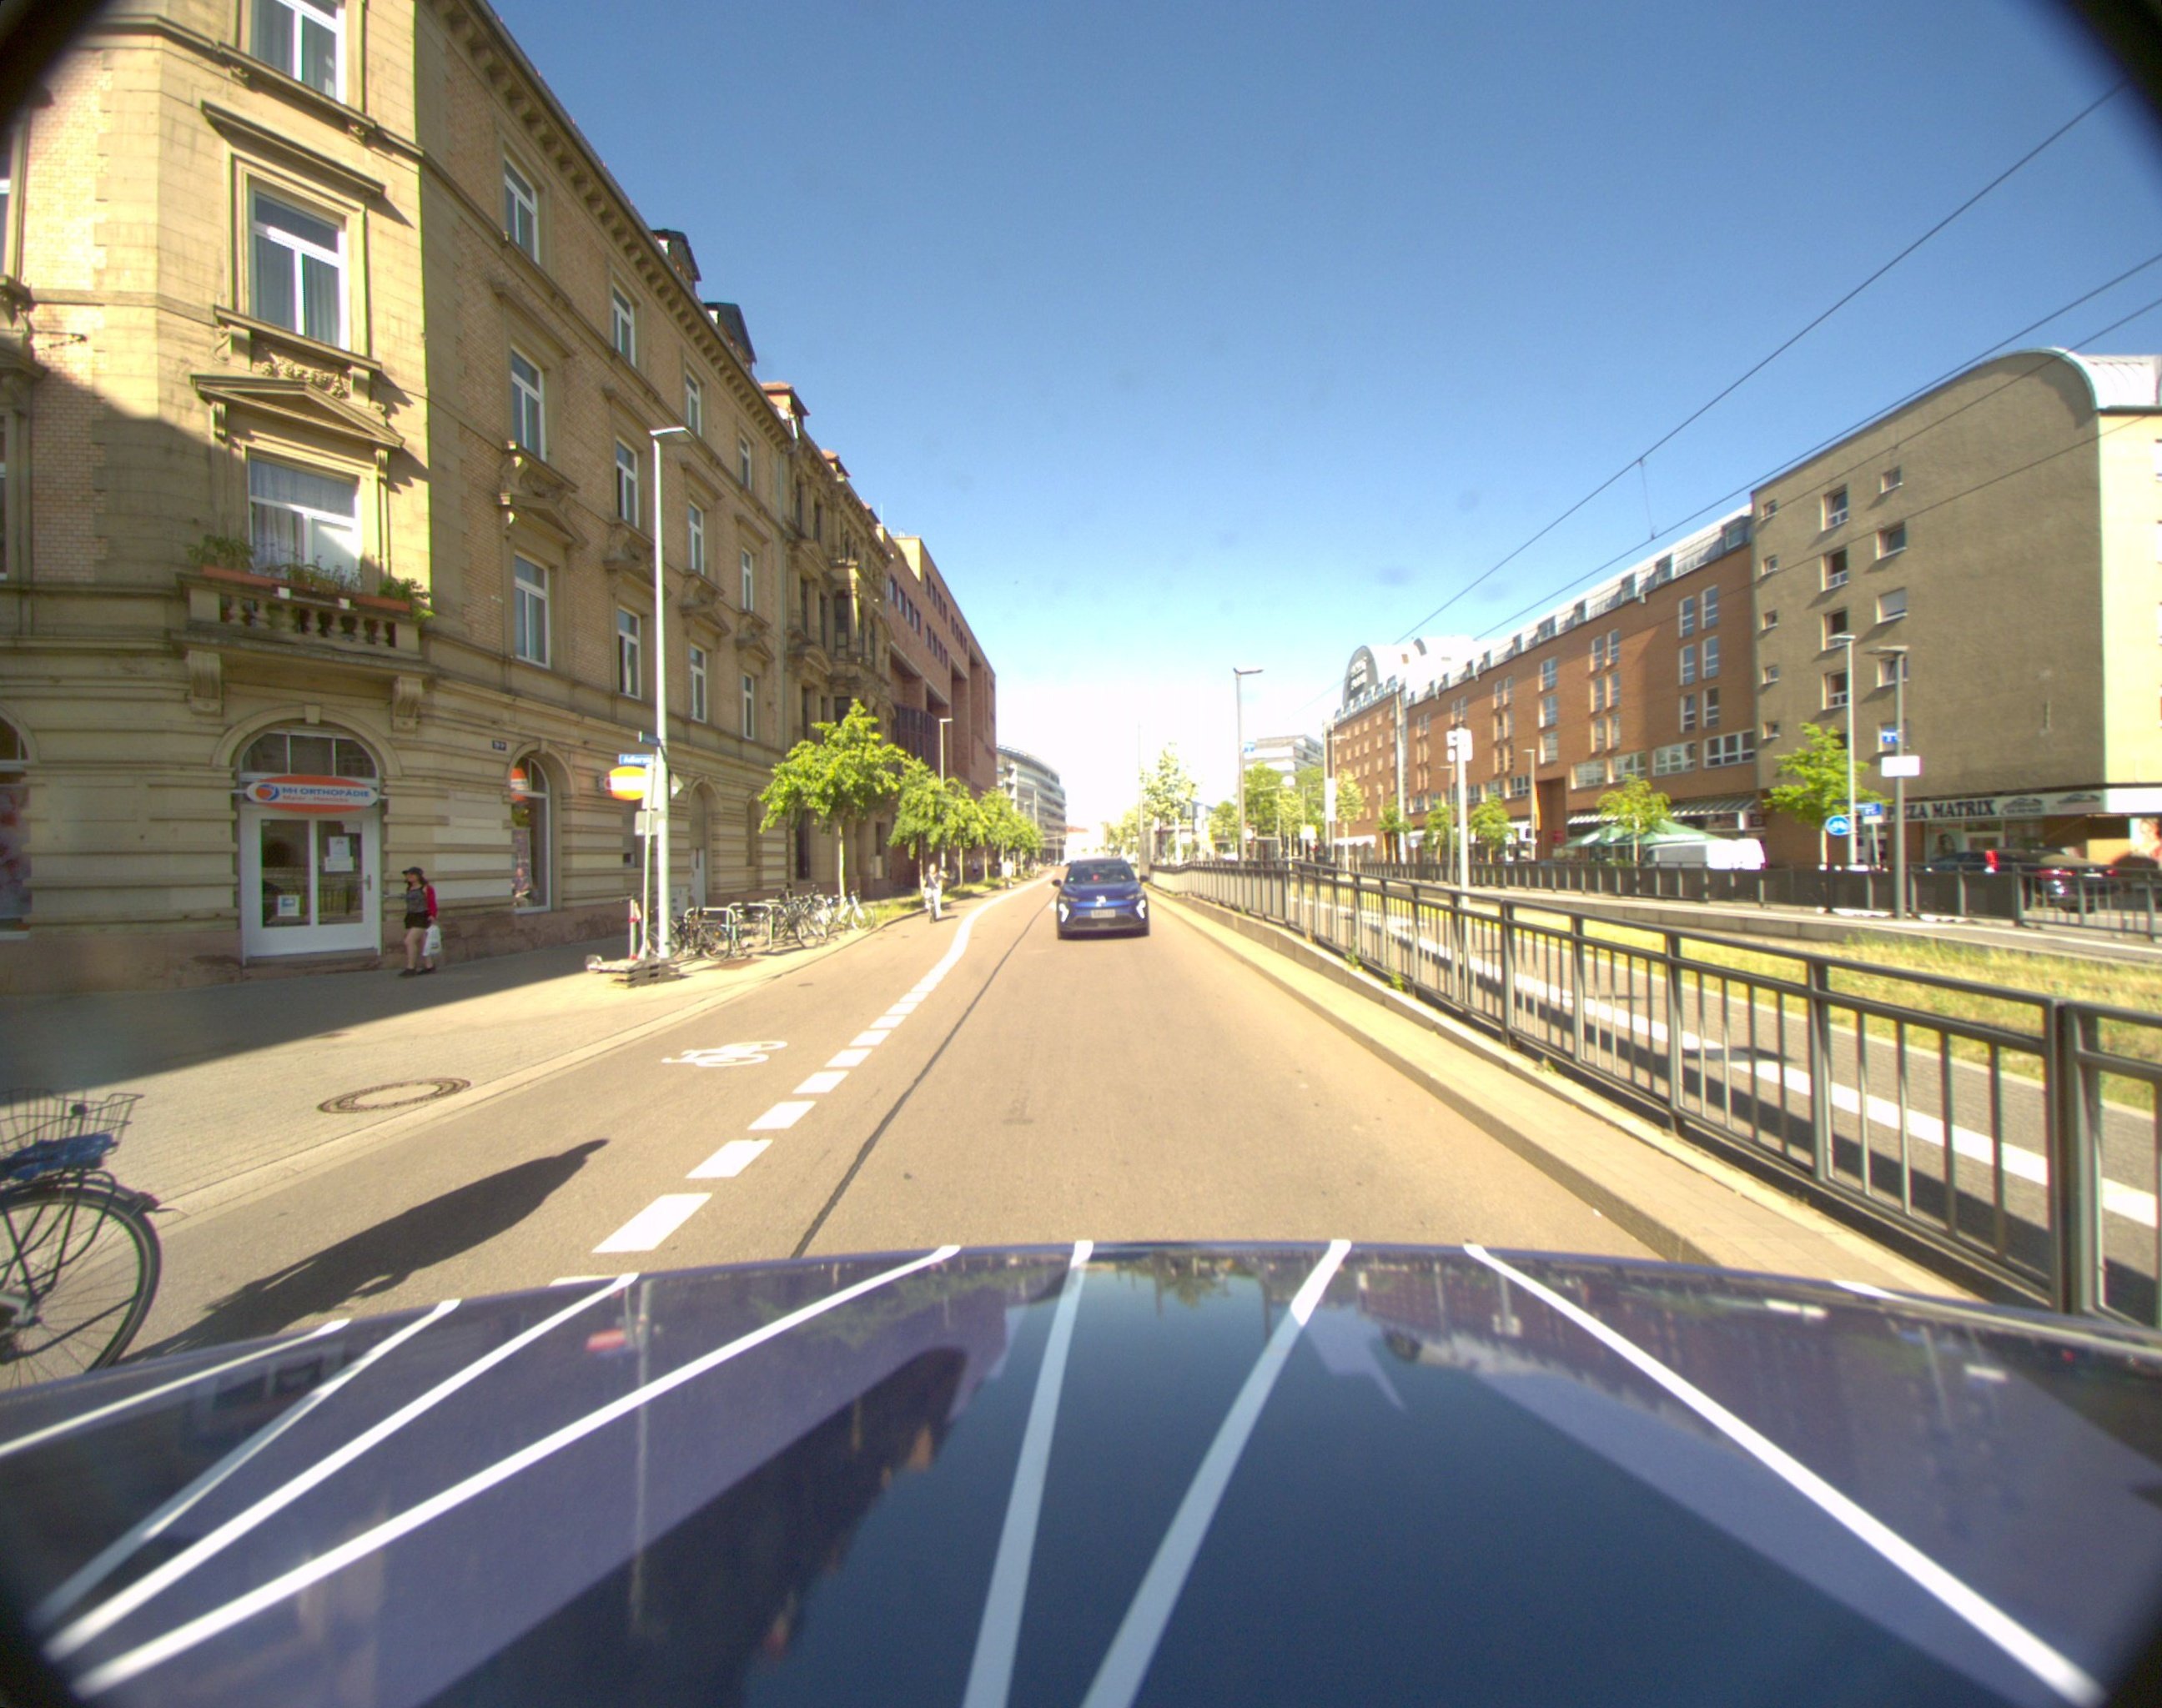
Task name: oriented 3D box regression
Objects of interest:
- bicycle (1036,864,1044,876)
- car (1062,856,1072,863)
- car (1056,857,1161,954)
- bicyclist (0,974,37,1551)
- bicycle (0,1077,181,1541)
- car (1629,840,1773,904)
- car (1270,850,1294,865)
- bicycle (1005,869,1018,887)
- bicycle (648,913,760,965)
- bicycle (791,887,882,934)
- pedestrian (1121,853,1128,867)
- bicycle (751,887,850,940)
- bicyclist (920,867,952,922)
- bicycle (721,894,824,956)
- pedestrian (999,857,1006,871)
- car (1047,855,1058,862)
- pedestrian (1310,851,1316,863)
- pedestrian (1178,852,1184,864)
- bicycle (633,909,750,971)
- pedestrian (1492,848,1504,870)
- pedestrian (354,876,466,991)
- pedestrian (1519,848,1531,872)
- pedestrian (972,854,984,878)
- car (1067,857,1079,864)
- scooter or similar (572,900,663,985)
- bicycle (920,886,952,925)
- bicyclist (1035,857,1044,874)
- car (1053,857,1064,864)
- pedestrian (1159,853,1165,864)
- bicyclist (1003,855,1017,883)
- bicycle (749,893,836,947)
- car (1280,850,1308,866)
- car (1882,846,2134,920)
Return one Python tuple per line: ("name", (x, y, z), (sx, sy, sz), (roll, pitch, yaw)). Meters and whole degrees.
("bicycle", (-4.054, 1.541, 74.851), (0.578, 1.090, 1.507), (-3, 0, 3))
("car", (-3.409, 1.329, 189.563), (1.882, 1.455, 4.001), (-2, 1, 7))
("car", (0.518, 0.935, 15.563), (1.802, 1.596, 3.999), (-2, 1, 1))
("bicyclist", (-3.050, 0.856, 1.459), (0.781, 1.701, 0.868), (-3, 0, 0))
("bicycle", (-3.095, 1.244, 1.451), (0.558, 1.086, 1.792), (-3, 0, 0))
("car", (25.352, 0.677, 31.409), (1.997, 2.356, 5.649), (-1, 0, 8))
("car", (25.092, 0.430, 94.919), (1.998, 1.674, 3.999), (-2, 1, 1))
("bicycle", (-4.365, 1.495, 47.630), (0.578, 1.090, 1.507), (-3, 0, 2))
("bicycle", (-6.520, 1.464, 13.165), (1.673, 0.816, 0.607), (0, 0, 7))
("bicycle", (-6.018, 1.389, 18.805), (2.001, 1.086, 0.846), (1, 0, -9))
("pedestrian", (5.174, 0.714, 90.010), (0.710, 1.713, 0.752), (-1, 1, -1))
("bicycle", (-6.445, 1.350, 17.509), (1.999, 1.121, 0.710), (1, 0, 2))
("bicyclist", (-4.165, 1.147, 21.868), (0.659, 1.528, 0.909), (-3, 0, 0))
("bicycle", (-5.922, 1.353, 14.634), (1.727, 1.094, 0.607), (1, 0, 4))
("pedestrian", (-8.610, 1.099, 83.006), (0.633, 1.478, 0.736), (-1, 1, 0))
("car", (-6.460, 1.038, 174.167), (1.882, 1.455, 4.001), (-2, 1, 7))
("pedestrian", (34.489, 0.400, 113.042), (0.716, 1.745, 0.779), (-1, 0, 1))
("pedestrian", (13.918, 0.553, 105.442), (0.608, 1.560, 0.729), (-1, 0, 28))
("bicycle", (-6.392, 1.399, 12.497), (1.673, 0.938, 0.607), (0, 0, 8))
("pedestrian", (35.595, 0.431, 64.876), (0.622, 1.830, 0.644), (-1, 1, -1))
("pedestrian", (-9.543, 1.098, 10.847), (0.710, 1.533, 0.927), (-1, 1, 8))
("pedestrian", (34.978, 0.454, 59.847), (0.622, 1.830, 0.645), (-1, 1, 1))
("pedestrian", (-8.182, 0.961, 60.244), (0.790, 1.872, 1.106), (-1, 1, 0))
("car", (-1.781, 1.423, 174.283), (2.120, 1.547, 4.003), (-1, 0, 9))
("scooter or similar", (-6.763, 1.282, 11.092), (1.113, 1.183, 0.419), (0, 0, 8))
("bicycle", (-4.158, 1.461, 21.834), (0.558, 1.021, 1.507), (-3, 0, 0))
("bicyclist", (-4.080, 1.106, 74.842), (0.755, 1.607, 0.762), (-3, 0, 4))
("car", (-5.335, 1.510, 181.422), (1.882, 1.455, 4.001), (-2, 1, 7))
("pedestrian", (11.046, 0.594, 103.521), (0.608, 1.560, 0.728), (-1, 0, 21))
("bicyclist", (-4.416, 0.929, 47.472), (0.684, 1.718, 0.909), (-3, 0, 2))
("bicycle", (-6.125, 1.397, 16.193), (1.603, 1.039, 0.607), (1, 0, 4))
("car", (23.944, 0.455, 85.534), (1.998, 1.674, 3.999), (-2, 1, 1))
("car", (24.264, 0.698, 20.163), (1.819, 1.749, 4.000), (-1, 0, 0))
